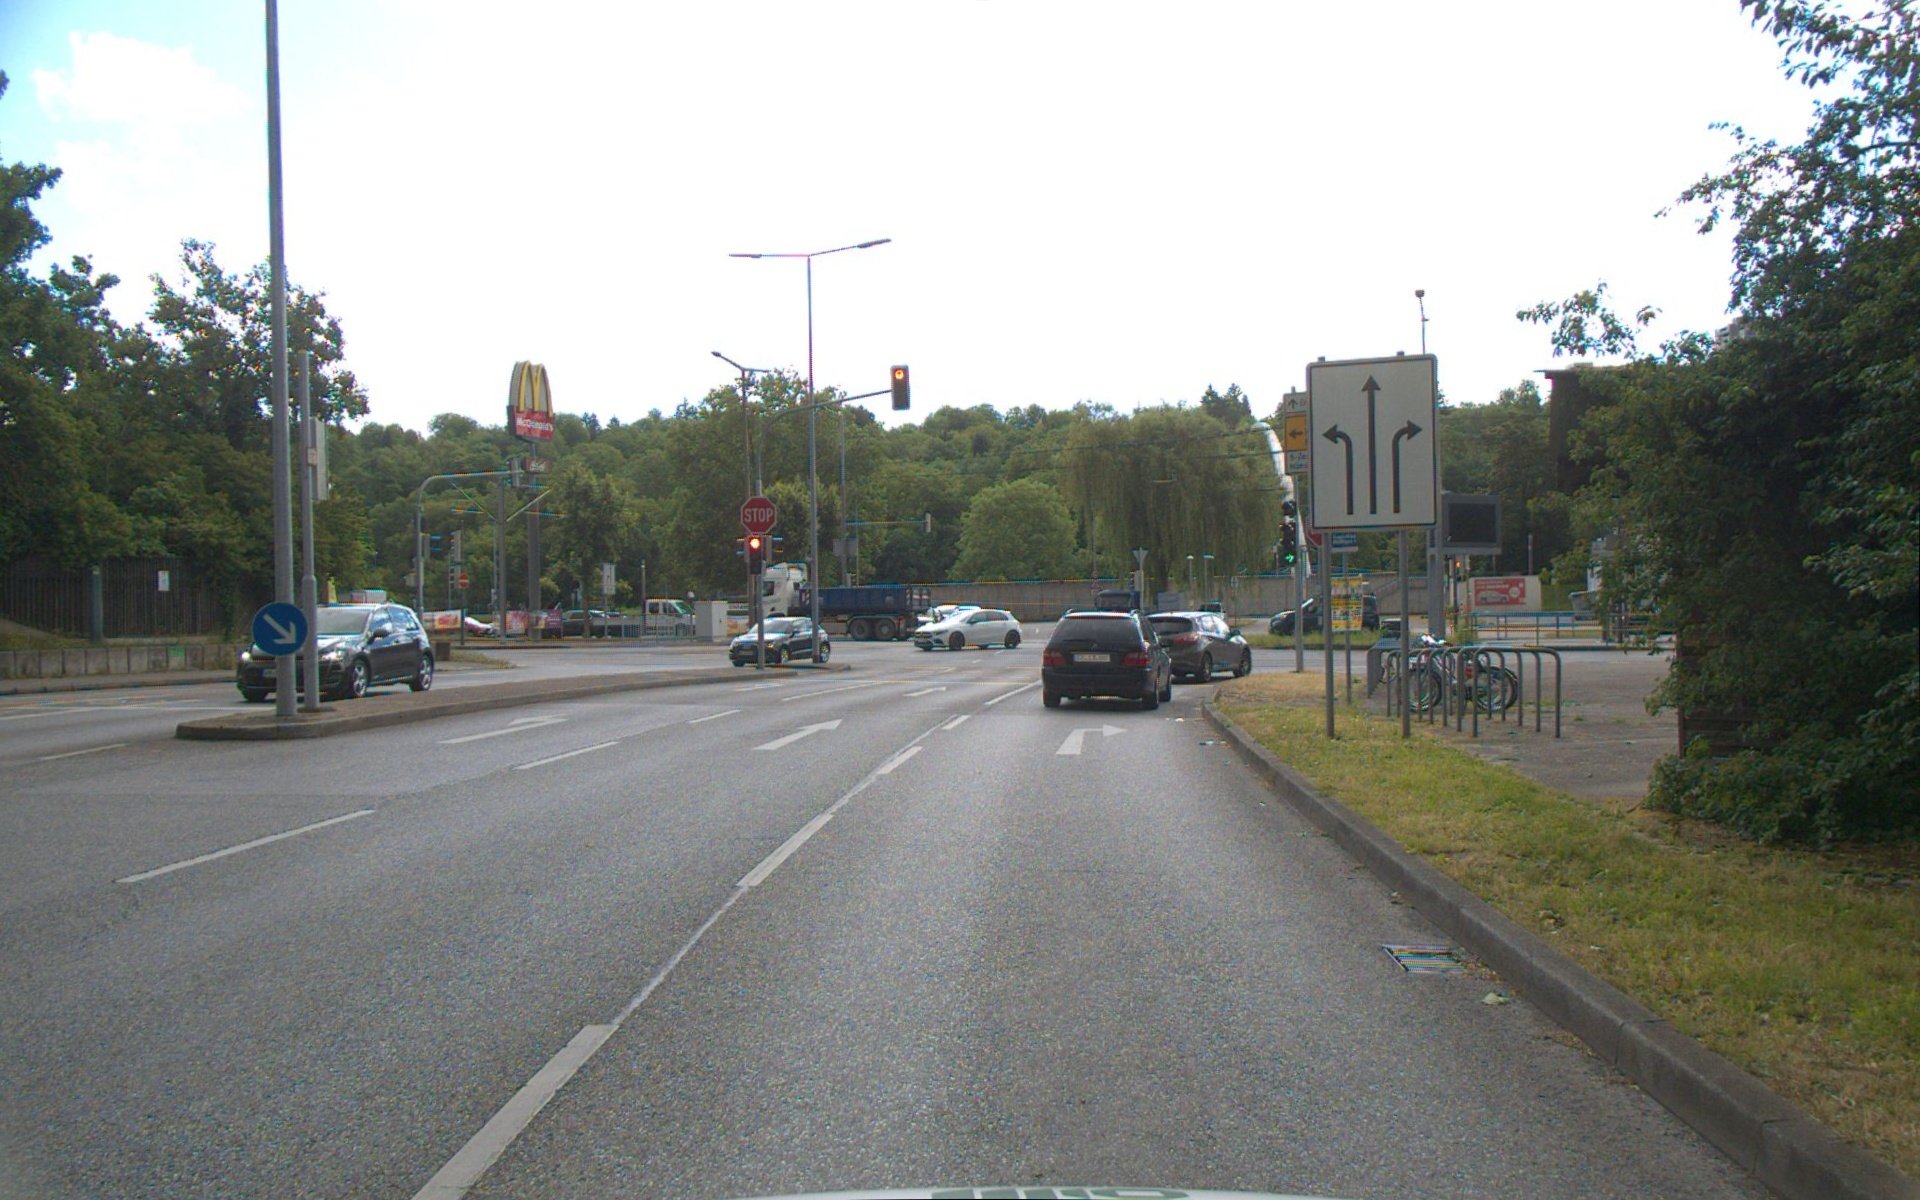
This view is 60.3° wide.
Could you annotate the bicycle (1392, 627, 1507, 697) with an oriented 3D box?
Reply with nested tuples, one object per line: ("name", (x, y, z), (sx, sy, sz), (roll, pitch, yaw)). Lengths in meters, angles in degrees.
("bicycle", (8.052, 1.021, 27.267), (1.740, 1.130, 0.554), (0, -1, 8))

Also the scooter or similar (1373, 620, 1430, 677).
("scooter or similar", (9.333, 1.021, 34.971), (1.156, 1.190, 0.294), (-1, -1, 15))

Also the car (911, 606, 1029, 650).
("car", (0.384, 0.984, 59.534), (4.254, 1.430, 1.581), (-1, 0, -41))

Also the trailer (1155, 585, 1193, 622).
("trailer", (13.210, 0.238, 101.945), (1.951, 2.222, 4.003), (-2, -1, 11))

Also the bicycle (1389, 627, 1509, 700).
("bicycle", (7.707, 1.010, 26.110), (1.740, 1.130, 0.541), (-1, -3, 8))

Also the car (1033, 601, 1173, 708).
("car", (2.390, 0.827, 26.598), (1.783, 1.536, 4.578), (1, -1, 11))

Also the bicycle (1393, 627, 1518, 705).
("bicycle", (7.383, 0.984, 24.701), (1.740, 1.130, 0.455), (-1, -1, 13))

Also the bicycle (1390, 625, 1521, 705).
("bicycle", (7.173, 0.942, 23.975), (1.744, 1.130, 0.425), (-2, -2, 27))

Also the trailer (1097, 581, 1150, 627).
("trailer", (9.951, 0.260, 100.447), (2.302, 2.627, 4.923), (-2, -1, 15))

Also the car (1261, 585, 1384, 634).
("car", (14.330, 0.367, 65.469), (4.453, 1.805, 1.606), (-1, 0, -3))

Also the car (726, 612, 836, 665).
("car", (-5.287, 1.120, 49.261), (1.583, 1.441, 3.895), (-2, 0, 22))

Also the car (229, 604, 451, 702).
("car", (-9.562, 0.769, 25.896), (1.642, 1.390, 4.313), (0, 0, 3))

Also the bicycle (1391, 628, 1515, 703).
("bicycle", (7.554, 1.002, 25.402), (1.740, 1.130, 0.580), (-1, -1, 8))

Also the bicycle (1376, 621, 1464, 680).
("bicycle", (9.278, 1.018, 33.395), (1.653, 1.130, 0.480), (-1, 1, 8))

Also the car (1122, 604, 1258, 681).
("car", (5.195, 0.919, 36.921), (1.693, 1.557, 4.143), (-2, 0, 28))

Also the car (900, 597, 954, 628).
("car", (-1.858, 0.704, 93.454), (1.951, 1.668, 4.003), (-2, 0, 15))

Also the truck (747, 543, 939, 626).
("truck", (-5.789, -0.699, 81.681), (8.913, 3.650, 3.219), (-2, -1, 22))
